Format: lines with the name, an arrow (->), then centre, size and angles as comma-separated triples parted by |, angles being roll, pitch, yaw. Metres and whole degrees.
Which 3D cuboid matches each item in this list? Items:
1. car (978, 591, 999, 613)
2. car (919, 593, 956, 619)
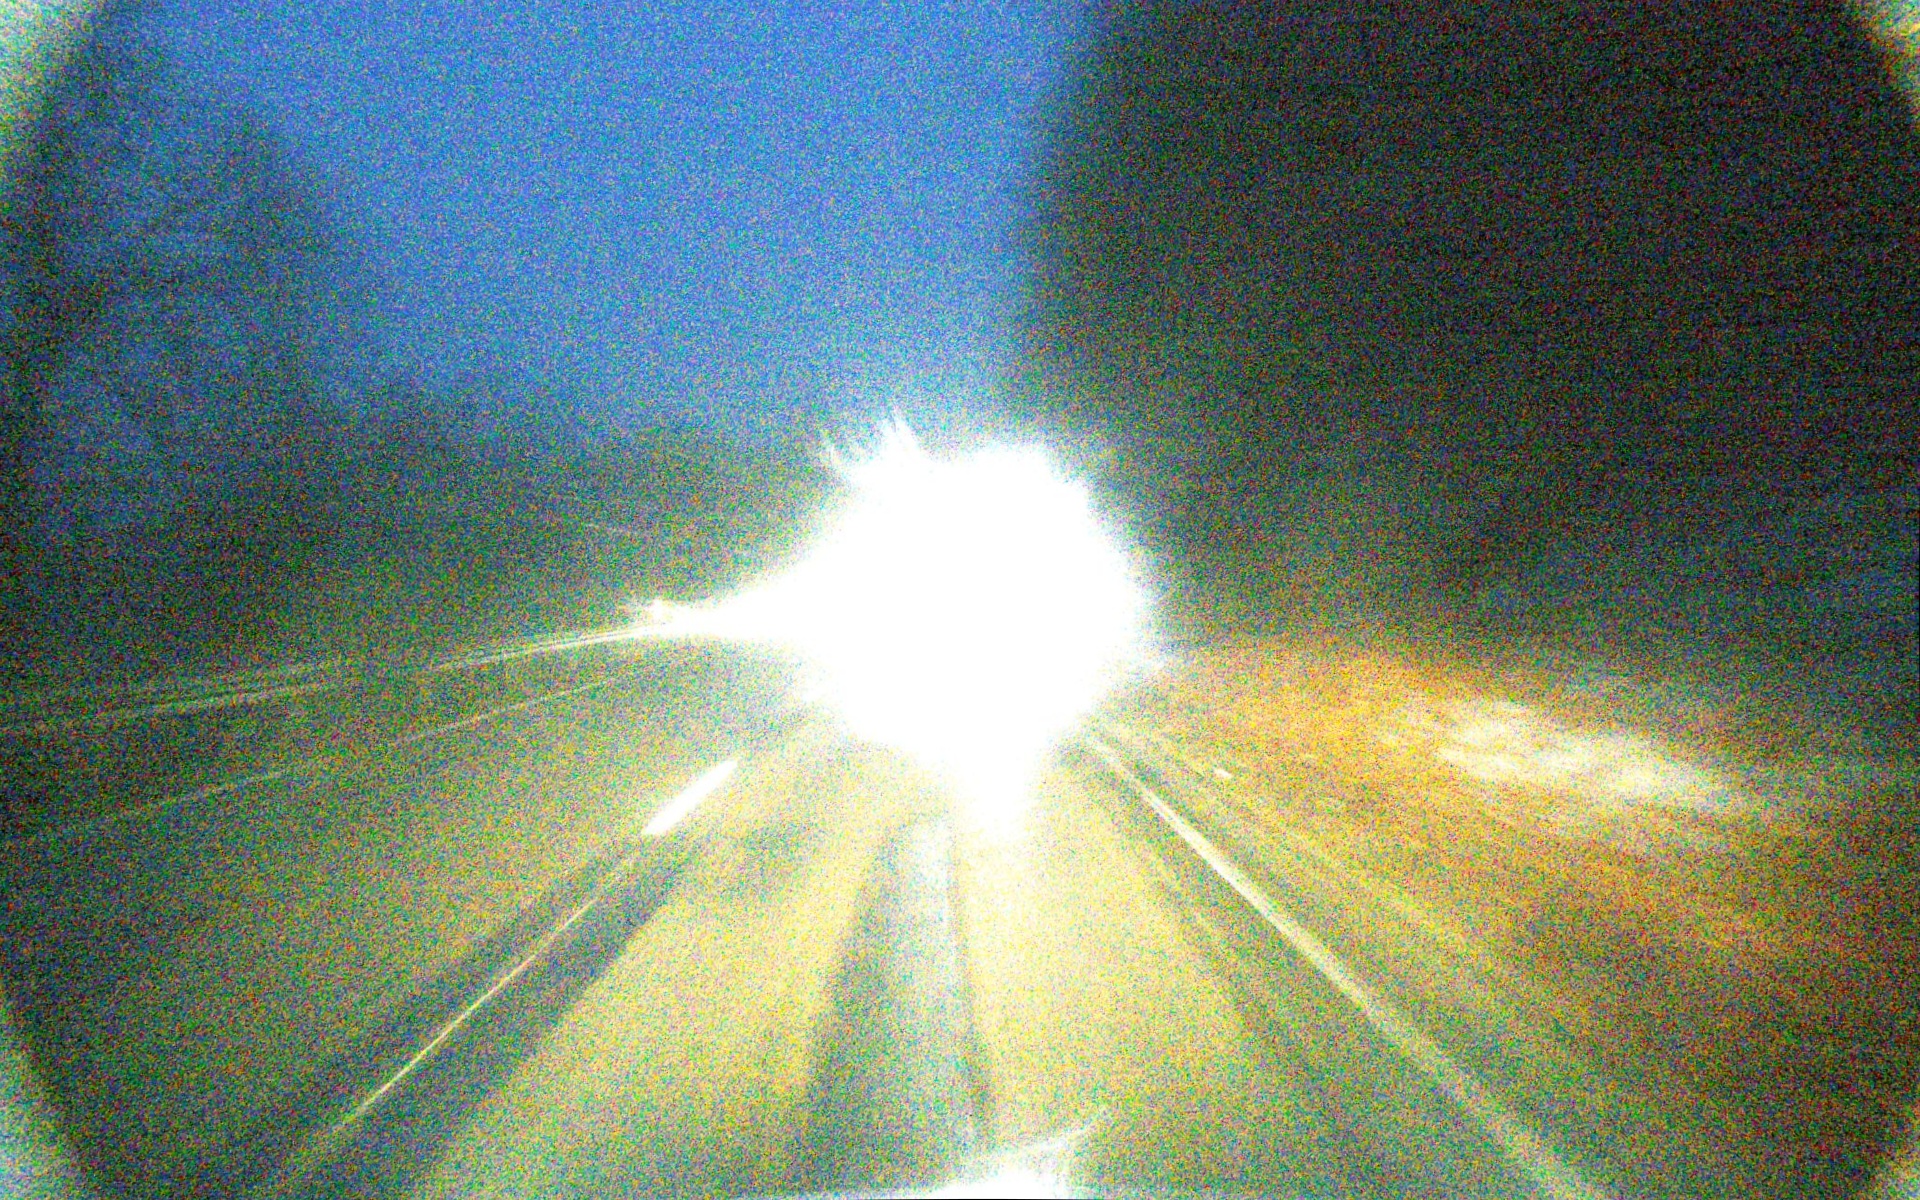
car -> 2.629, 0.185, 151.308 | 1.816, 1.974, 4.002 | 0, 0, 3
car -> -1.298, 0.335, 95.024 | 1.952, 1.415, 3.846 | 1, 0, 1
